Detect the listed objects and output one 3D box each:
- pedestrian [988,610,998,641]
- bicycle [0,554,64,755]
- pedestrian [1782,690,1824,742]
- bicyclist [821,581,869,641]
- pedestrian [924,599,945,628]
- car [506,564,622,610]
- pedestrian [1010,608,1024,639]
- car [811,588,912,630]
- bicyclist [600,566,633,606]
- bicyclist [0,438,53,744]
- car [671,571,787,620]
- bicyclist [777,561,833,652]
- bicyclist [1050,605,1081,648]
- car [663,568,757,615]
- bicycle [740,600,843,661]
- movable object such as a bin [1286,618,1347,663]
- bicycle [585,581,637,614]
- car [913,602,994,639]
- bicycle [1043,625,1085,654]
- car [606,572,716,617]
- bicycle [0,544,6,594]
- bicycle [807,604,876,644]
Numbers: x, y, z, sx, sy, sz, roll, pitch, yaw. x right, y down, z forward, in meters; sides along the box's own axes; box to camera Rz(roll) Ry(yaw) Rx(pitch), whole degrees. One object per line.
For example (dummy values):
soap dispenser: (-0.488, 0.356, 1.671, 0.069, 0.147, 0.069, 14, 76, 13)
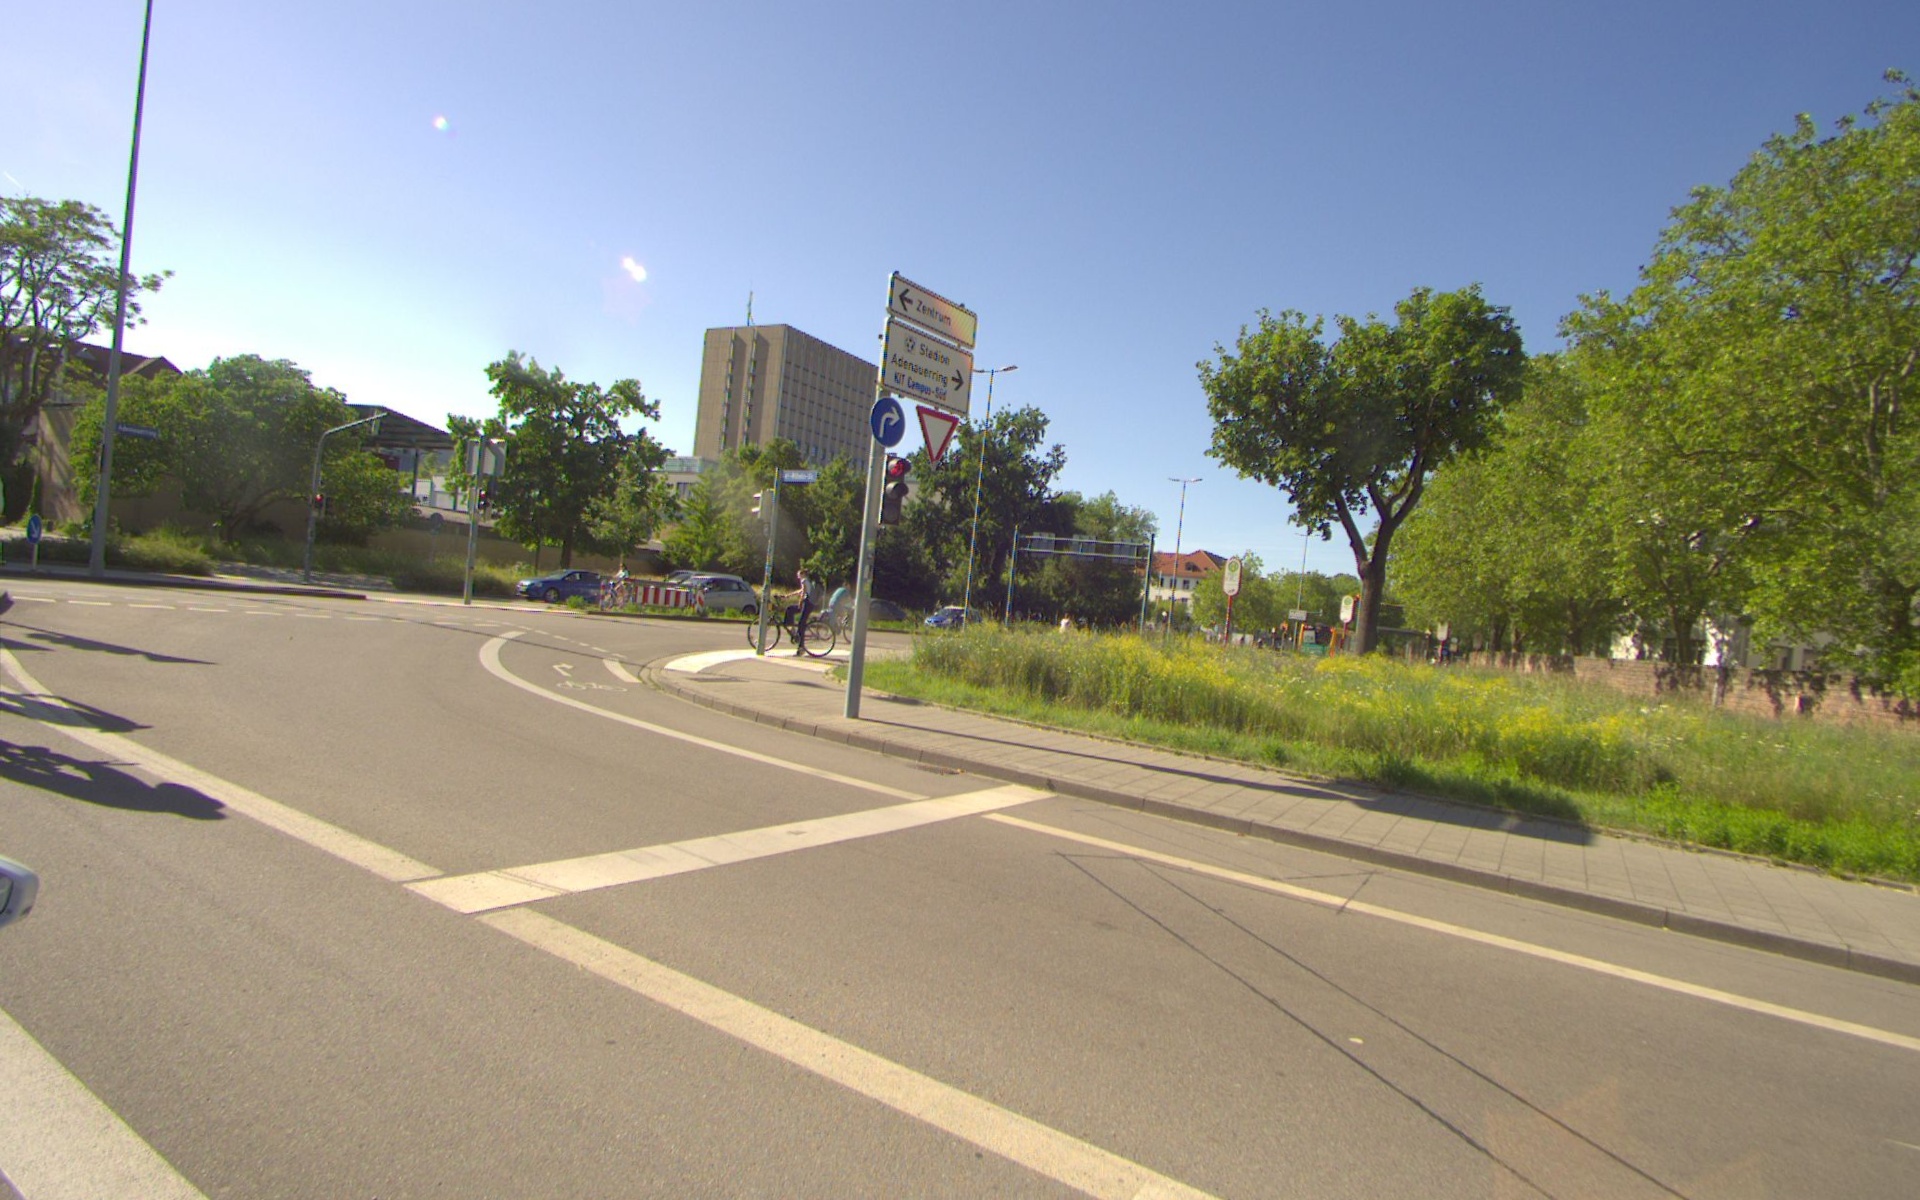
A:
pedestrian: (2.650, 2.021, 80.694, 0.401, 2.451, 0.467, 6, -1, 34)
bicycle: (-6.290, 0.235, 6.100, 1.890, 1.102, 0.690, 6, -1, 32)
pedestrian: (25.859, 3.549, 30.858, 0.712, 1.460, 0.523, 7, -1, 2)
bicyclist: (-3.156, 0.309, 27.657, 0.632, 1.533, 1.049, 7, 2, 39)
pedestrian: (-1.880, 1.008, 74.261, 0.752, 2.039, 1.267, 7, 1, 36)
car: (-16.207, -0.527, 41.316, 1.767, 1.415, 3.986, 7, 0, 37)
pedestrian: (4.669, 1.924, 82.161, 0.710, 2.451, 0.585, 6, -1, 34)
car: (-4.306, 0.434, 44.628, 1.767, 1.415, 4.557, 7, 0, 37)
bicyclist: (-12.690, -0.519, 37.163, 0.602, 1.360, 0.874, 7, 1, 37)
bicyclist: (-6.254, -0.112, 6.103, 1.123, 1.813, 0.684, 7, 0, 32)
car: (-8.736, -0.131, 38.287, 1.767, 1.415, 3.986, 7, 0, 37)
bicyclist: (-3.033, 0.123, 19.703, 0.898, 1.667, 0.630, 6, 1, -9)
bicyclist: (3.956, 0.995, 37.625, 0.509, 1.548, 1.067, 7, 2, 39)
car: (-11.839, -0.368, 47.794, 1.767, 1.771, 3.986, 7, 0, 37)
bicycle: (-3.286, 0.590, 19.676, 1.856, 0.970, 0.635, 7, 1, -10)
movable object such as a bin: (26.982, 3.137, 75.895, 2.954, 2.898, 9.178, 6, 0, 27)
bicycle: (-12.846, -0.091, 37.027, 0.602, 1.046, 1.681, 7, 0, 37)
car: (-0.291, 1.049, 50.455, 1.916, 1.415, 3.986, 6, 0, 37)
bicycle: (3.911, 1.490, 37.638, 0.514, 1.000, 1.965, 7, 1, 39)
car: (-12.296, -0.201, 41.568, 1.767, 1.415, 3.986, 7, 0, 37)
bicycle: (-8.231, 0.017, 7.785, 1.890, 1.102, 0.690, 6, -1, 32)
bicycle: (-3.238, 0.668, 27.600, 0.640, 0.986, 1.895, 7, 1, 39)
